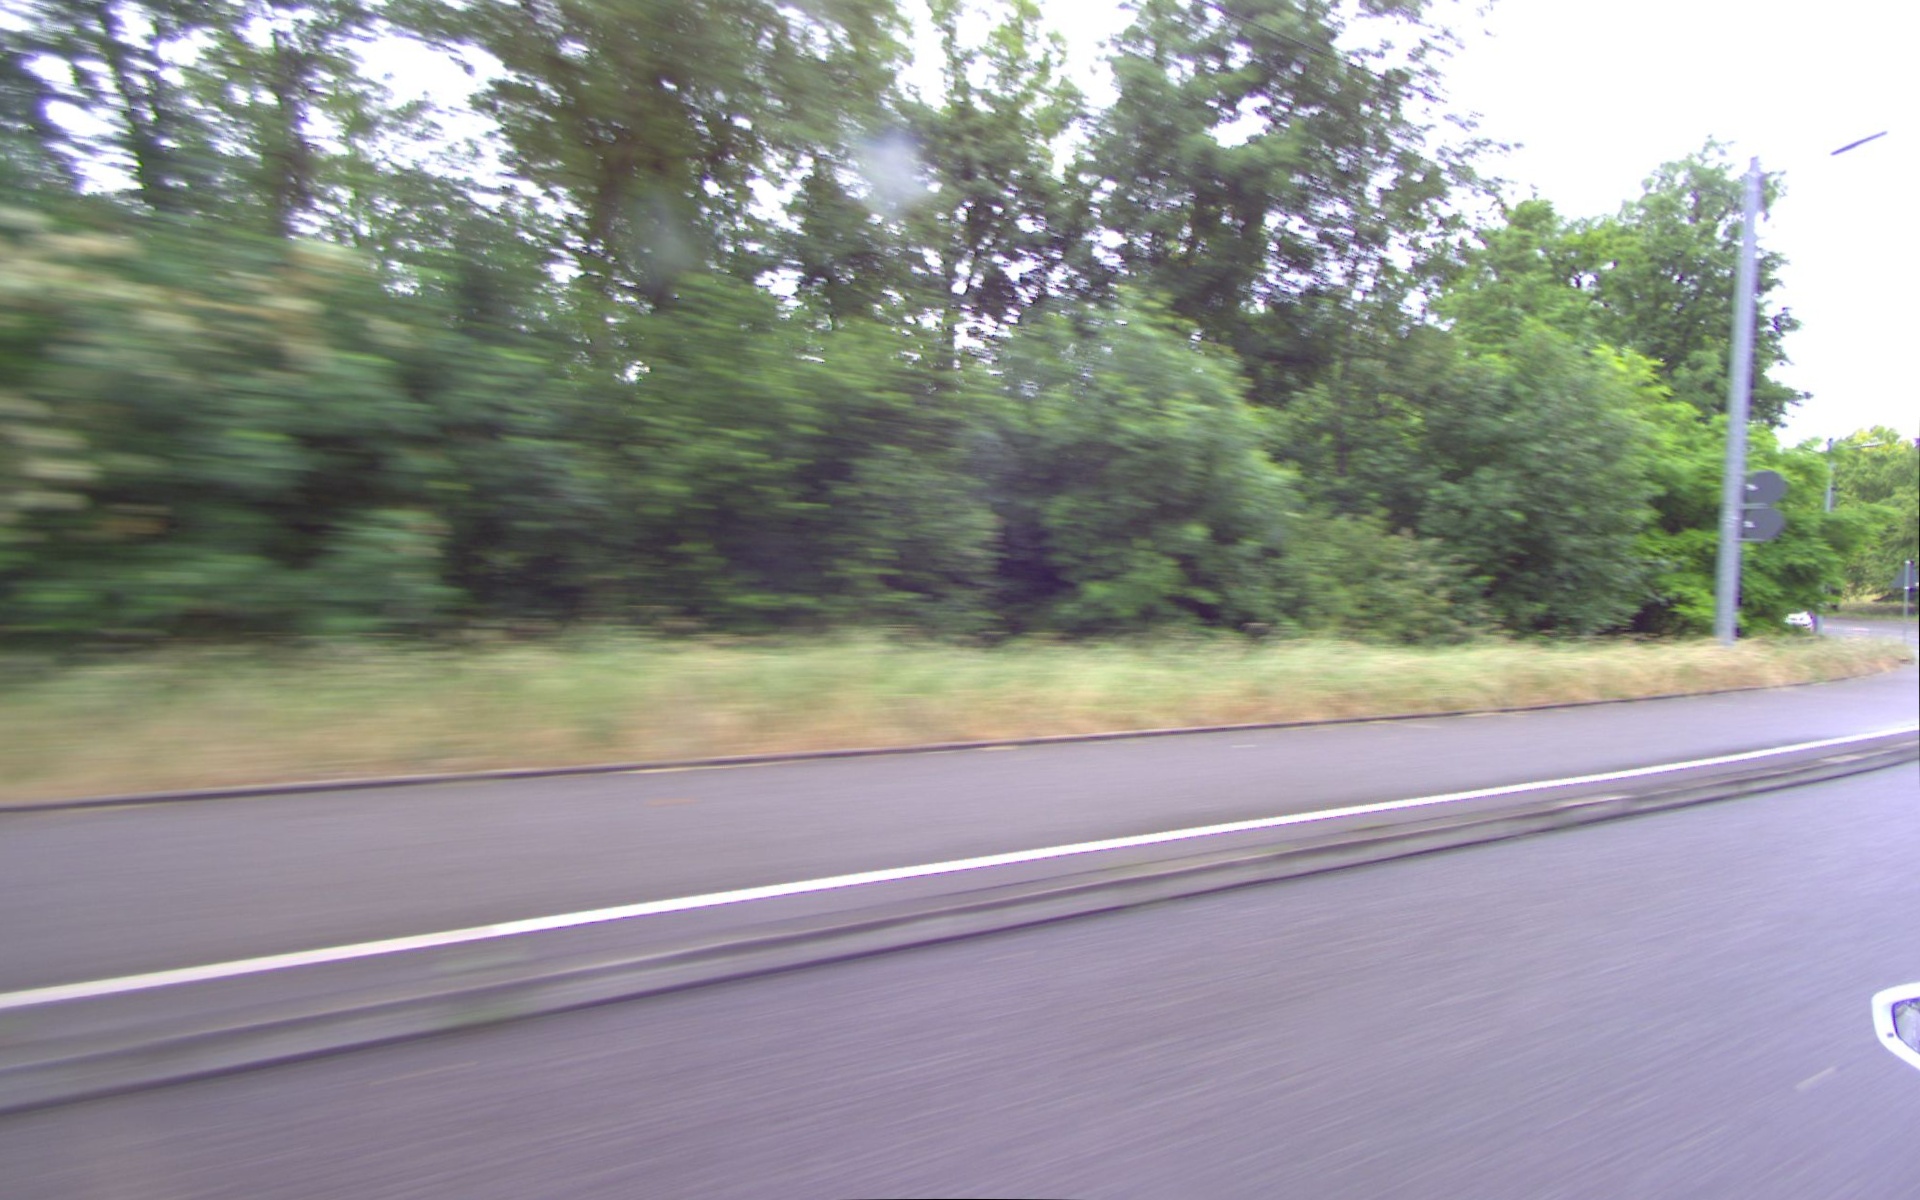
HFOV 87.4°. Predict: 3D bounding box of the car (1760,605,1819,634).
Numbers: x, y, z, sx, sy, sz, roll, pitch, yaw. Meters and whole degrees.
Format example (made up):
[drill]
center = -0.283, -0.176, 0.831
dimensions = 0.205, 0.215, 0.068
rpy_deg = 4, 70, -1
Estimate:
[car]
center = 51.805, 1.199, 62.822
dimensions = 1.765, 1.506, 3.996
rpy_deg = -3, 1, 24
